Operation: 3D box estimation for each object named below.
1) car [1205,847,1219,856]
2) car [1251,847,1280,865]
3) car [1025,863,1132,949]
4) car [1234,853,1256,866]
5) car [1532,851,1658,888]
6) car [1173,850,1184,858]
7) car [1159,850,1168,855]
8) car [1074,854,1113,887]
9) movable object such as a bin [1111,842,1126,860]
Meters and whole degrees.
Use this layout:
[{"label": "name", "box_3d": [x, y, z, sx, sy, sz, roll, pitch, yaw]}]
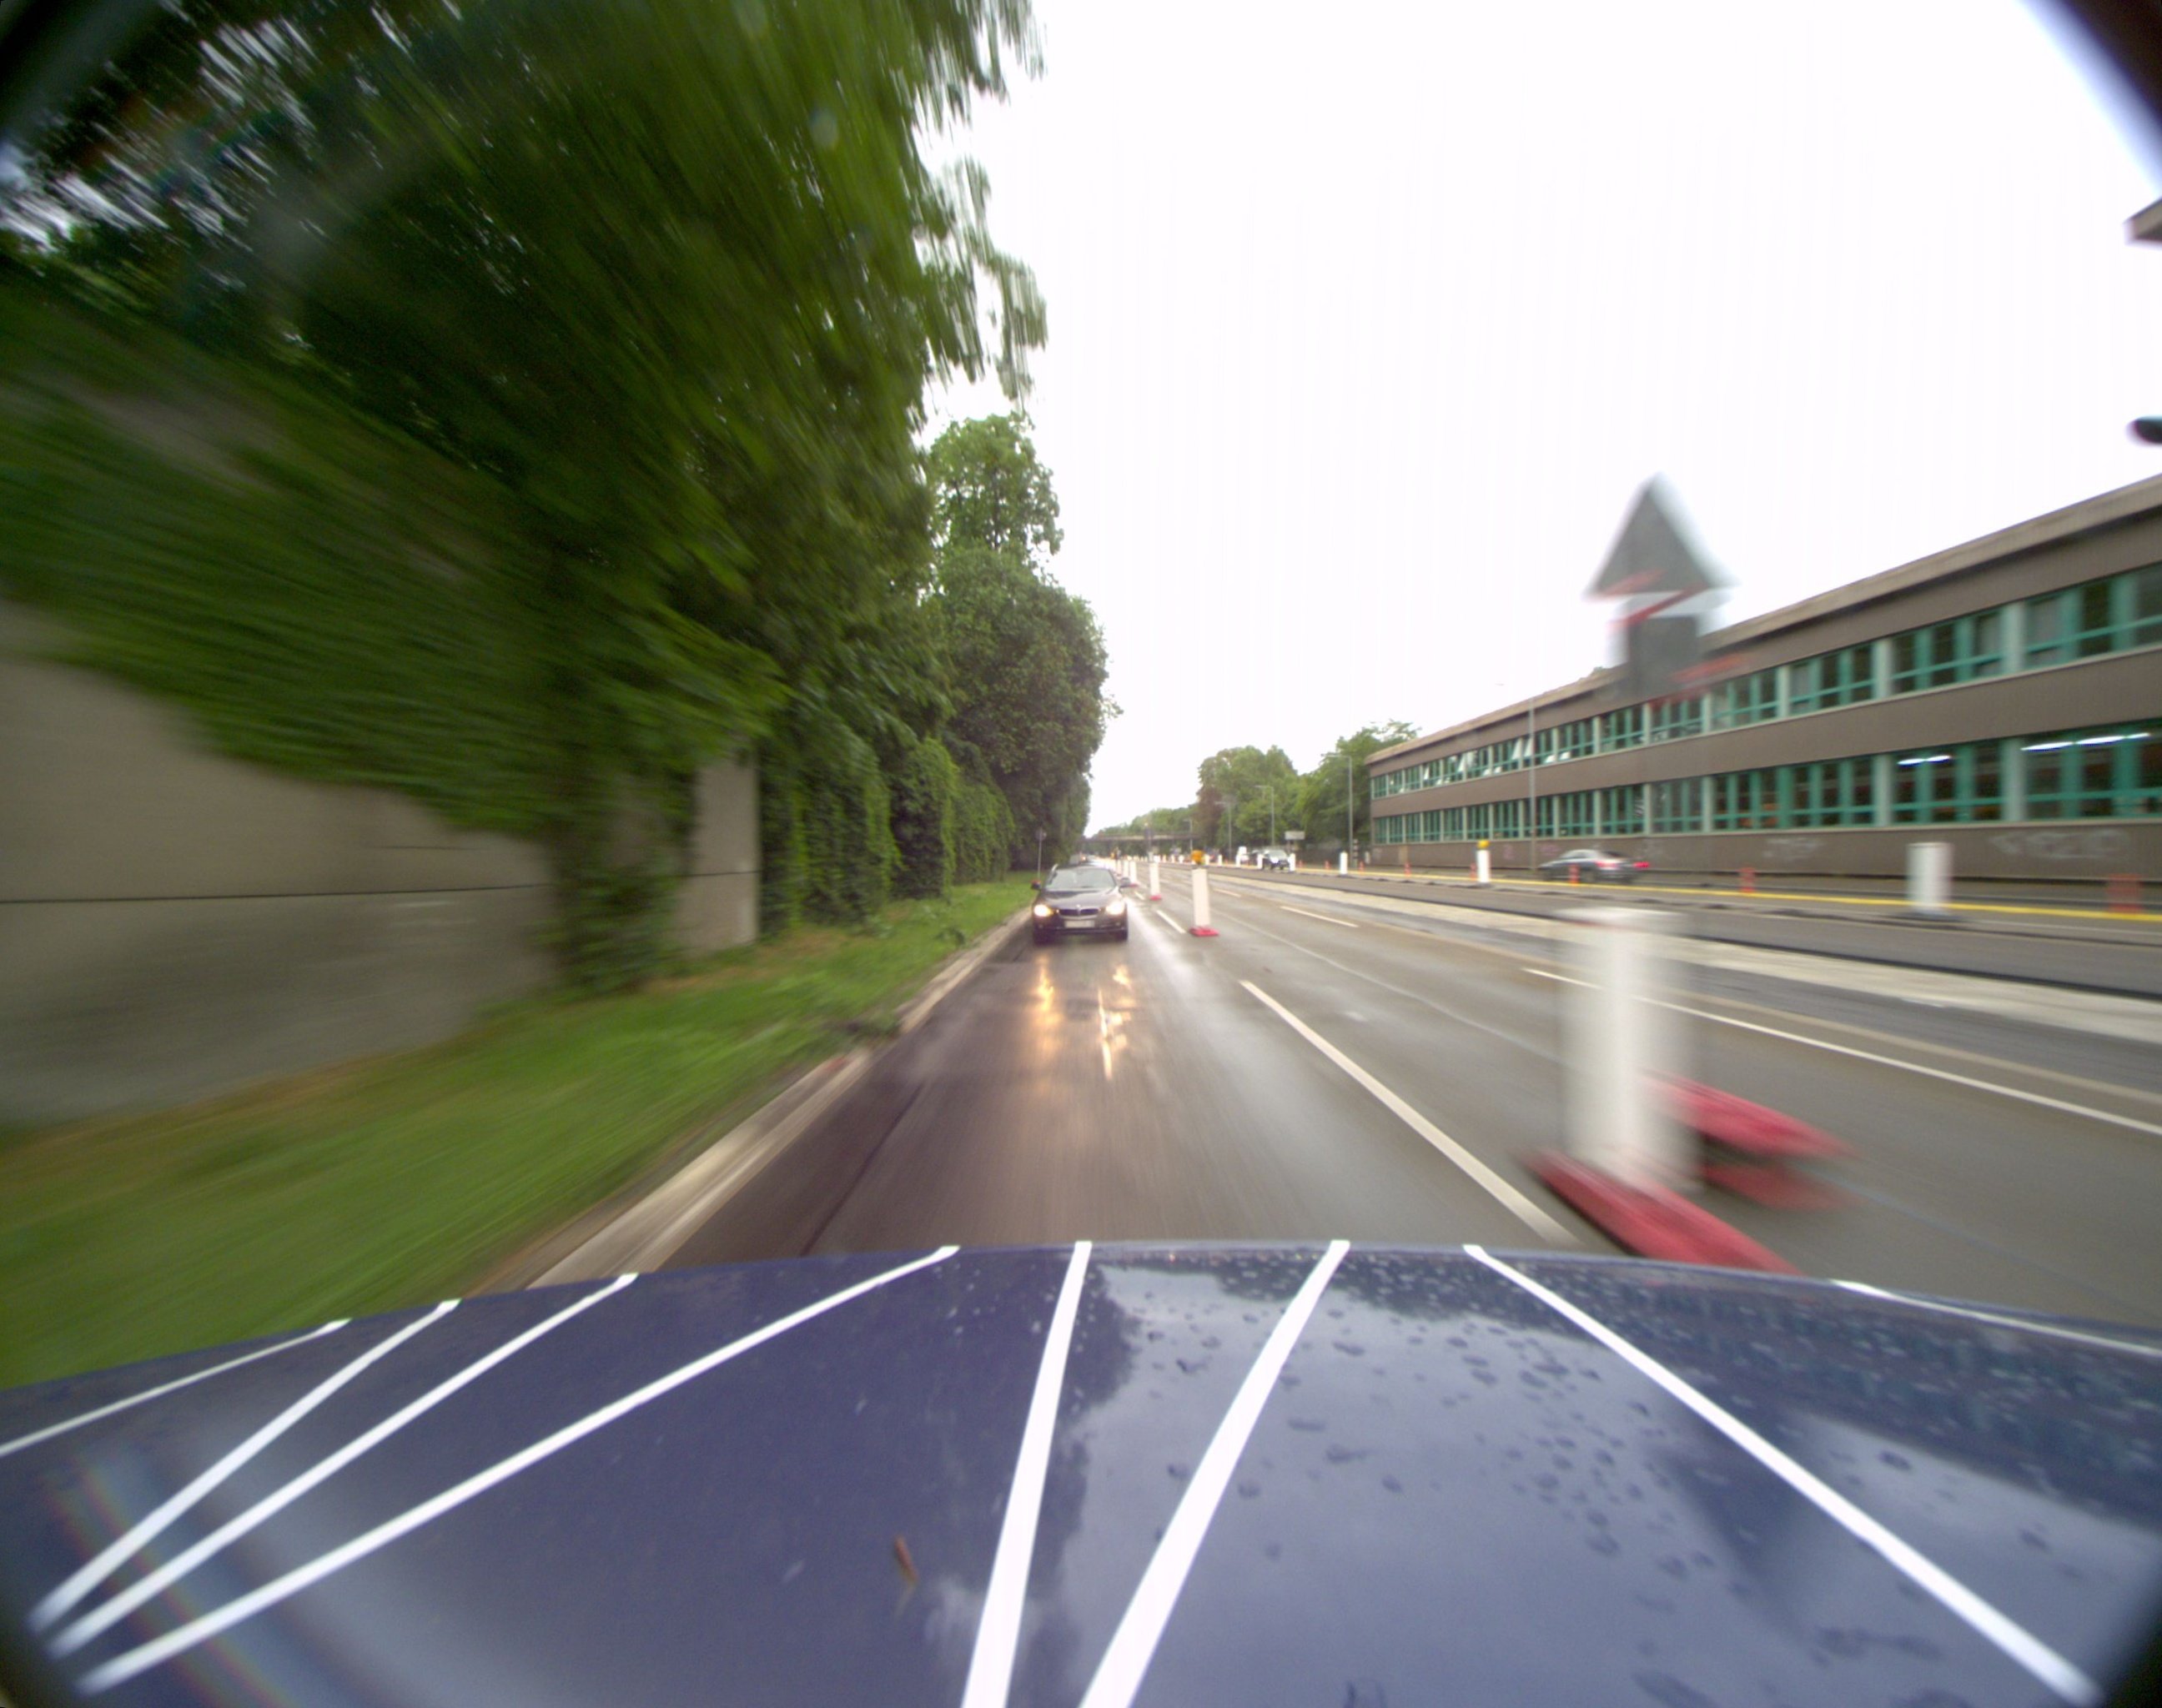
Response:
[{"label": "car", "box_3d": [24.501, -0.403, 142.209, 1.998, 1.577, 4.179, -2, 0, 1]}, {"label": "car", "box_3d": [19.916, 0.214, 82.221, 1.998, 1.770, 4.954, -2, 0, 1]}, {"label": "car", "box_3d": [-0.058, 0.945, 15.467, 1.838, 1.397, 3.999, -2, 0, -1]}, {"label": "car", "box_3d": [23.055, 0.717, 106.717, 1.942, 1.696, 4.935, -2, 0, 0]}, {"label": "car", "box_3d": [21.060, 0.573, 31.420, 1.998, 1.340, 4.791, -2, 0, 1]}, {"label": "car", "box_3d": [22.265, -0.045, 173.288, 1.993, 1.758, 4.675, -2, 0, 2]}, {"label": "car", "box_3d": [24.407, -0.349, 224.967, 1.999, 1.421, 4.265, -2, 0, 0]}, {"label": "car", "box_3d": [0.689, 0.851, 42.408, 1.998, 1.650, 4.229, -2, 1, 1]}, {"label": "movable object such as a bin", "box_3d": [9.948, -0.810, 201.964, 3.526, 4.495, 10.069, -2, 1, 1]}]
